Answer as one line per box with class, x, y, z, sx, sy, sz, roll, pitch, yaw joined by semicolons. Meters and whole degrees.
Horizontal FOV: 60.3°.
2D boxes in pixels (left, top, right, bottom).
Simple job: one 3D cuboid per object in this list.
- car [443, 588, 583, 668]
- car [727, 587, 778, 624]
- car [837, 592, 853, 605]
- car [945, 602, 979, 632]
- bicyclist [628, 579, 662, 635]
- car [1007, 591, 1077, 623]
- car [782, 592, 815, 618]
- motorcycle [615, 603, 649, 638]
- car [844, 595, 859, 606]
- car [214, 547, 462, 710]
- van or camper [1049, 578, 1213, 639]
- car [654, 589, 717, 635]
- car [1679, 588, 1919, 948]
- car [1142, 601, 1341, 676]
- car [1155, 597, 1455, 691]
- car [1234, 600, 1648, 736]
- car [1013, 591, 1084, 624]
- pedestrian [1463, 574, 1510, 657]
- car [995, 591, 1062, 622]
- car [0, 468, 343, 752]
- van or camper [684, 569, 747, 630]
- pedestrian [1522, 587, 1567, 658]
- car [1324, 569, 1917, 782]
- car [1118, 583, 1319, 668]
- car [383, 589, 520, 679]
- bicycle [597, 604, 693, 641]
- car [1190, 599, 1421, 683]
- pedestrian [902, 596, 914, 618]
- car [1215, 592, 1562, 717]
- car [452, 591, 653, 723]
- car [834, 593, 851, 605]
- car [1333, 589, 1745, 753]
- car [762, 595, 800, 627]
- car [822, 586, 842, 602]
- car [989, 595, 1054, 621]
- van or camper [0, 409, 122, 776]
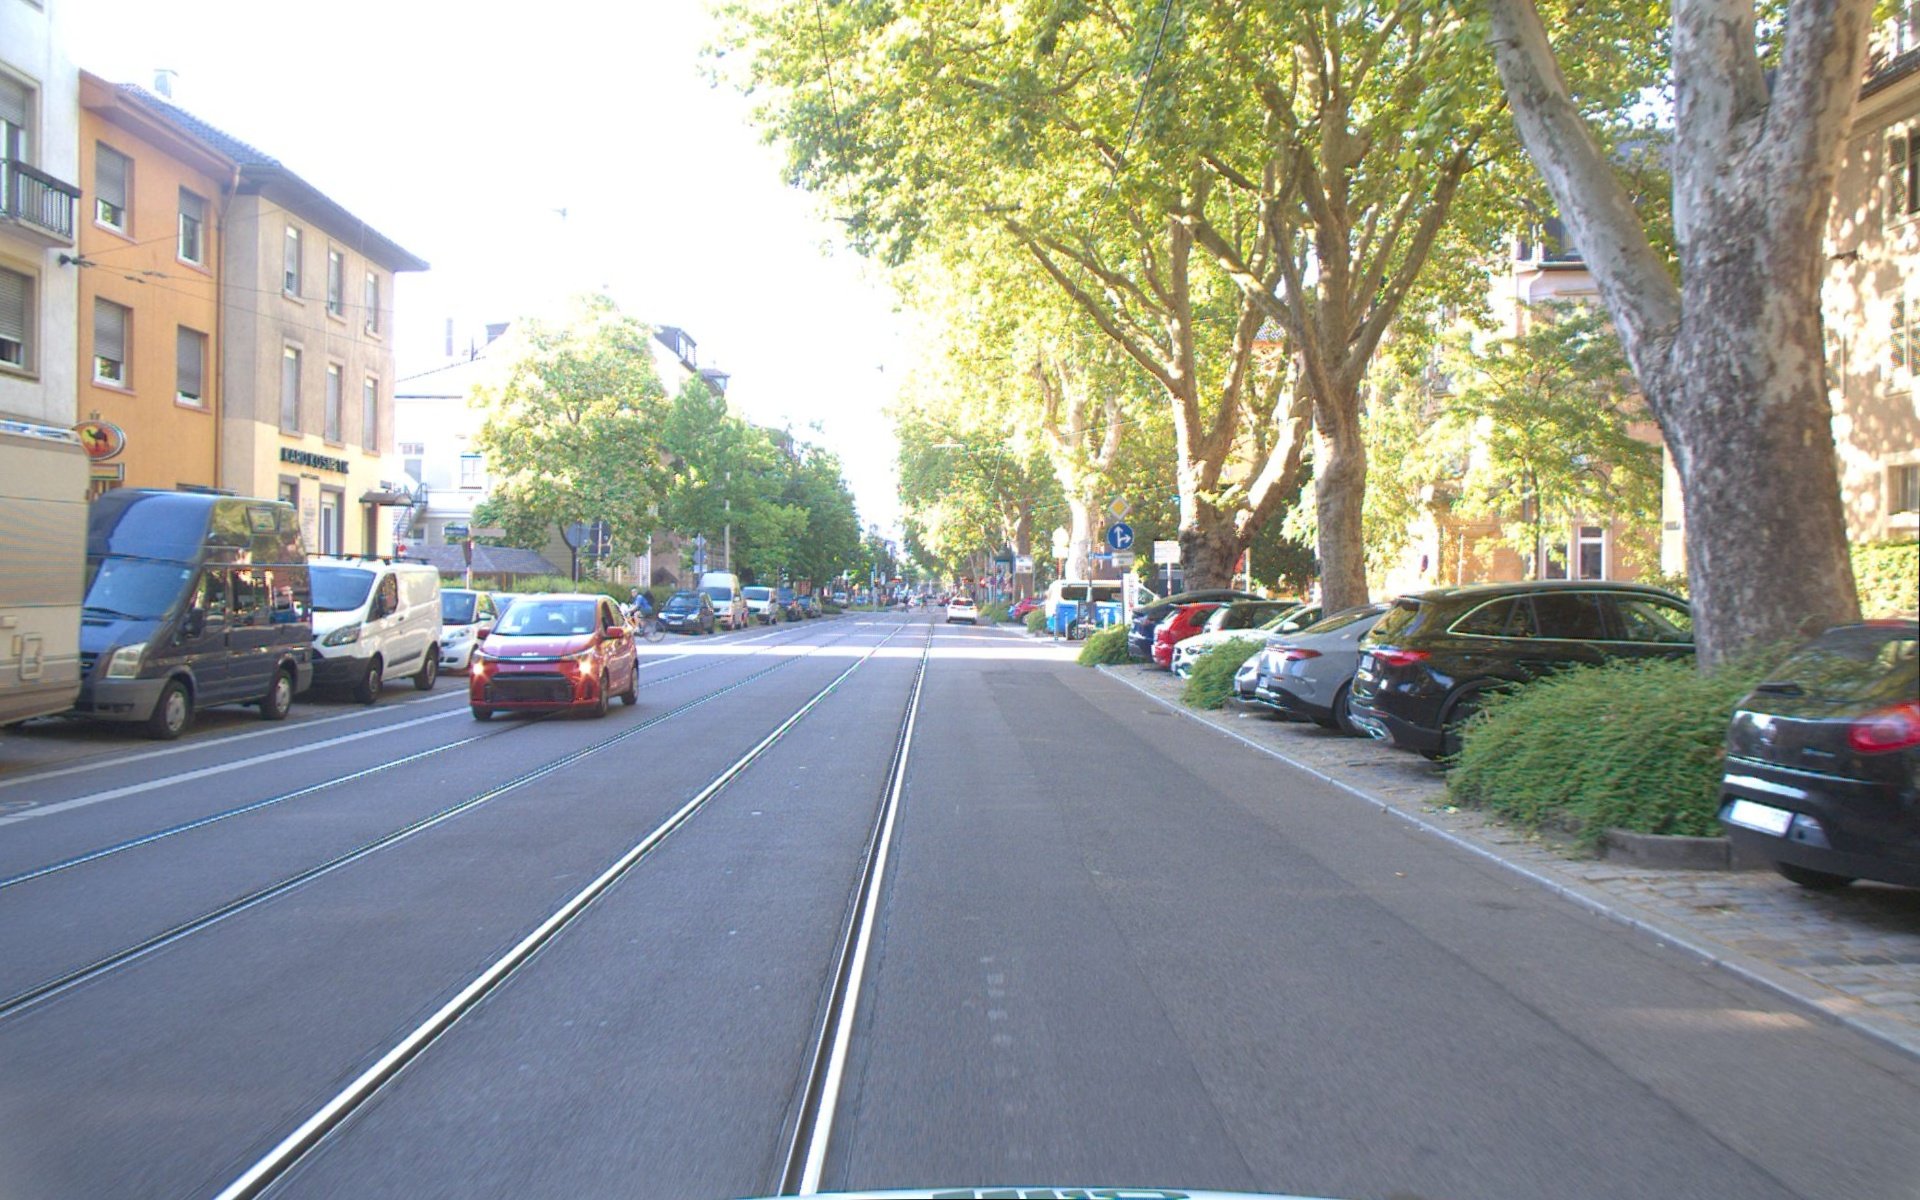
car;-9.602;0.549;35.936;1.799;1.494;5.067;3;0;-3
car;-10.889;0.260;86.986;2.129;1.893;4.658;0;0;-1
car;-14.054;-0.139;202.131;1.881;1.443;3.586;-2;-1;-6
car;0.089;0.940;94.331;1.879;1.612;3.790;-1;0;-1
bicyclist;-9.782;0.221;51.422;1.027;1.735;1.055;0;0;-10
car;4.705;0.420;95.417;3.905;1.816;2.000;0;0;-1
car;-11.424;0.346;117.316;1.953;1.775;4.658;0;0;-1
motorcycle;-11.675;0.727;58.950;0.748;1.126;2.330;1;2;-1
car;-14.411;0.126;219.973;1.880;1.443;3.588;0;0;-3
car;-9.339;0.348;25.359;1.913;2.127;5.246;3;1;-3
van or camper;6.006;0.275;58.514;5.447;2.048;2.242;0;3;-6
car;-10.425;0.423;63.083;1.751;1.614;4.342;3;0;-2
car;5.704;0.722;7.949;3.760;1.536;1.710;0;0;-1
car;5.461;0.726;32.369;3.575;1.402;1.889;0;0;0
car;5.653;0.708;27.504;4.591;1.472;1.892;0;0;-1
car;5.441;0.746;19.095;4.209;1.464;1.947;0;0;-2
car;4.952;0.424;93.137;3.905;1.816;2.000;0;0;-1
pedestrian;11.386;0.339;35.785;0.745;1.769;0.821;0;0;-1
car;4.077;0.371;98.670;3.905;1.816;2.000;0;0;-1
car;-9.275;0.065;19.343;2.044;2.779;5.308;3;0;-1
van or camper;-10.650;-0.039;72.313;2.037;2.577;5.317;0;0;-1
pedestrian;12.258;0.468;34.686;0.648;1.480;0.821;0;0;-1
car;5.617;0.622;14.572;4.402;1.630;2.028;-2;0;3
car;5.347;0.516;34.591;3.845;1.699;1.960;0;0;-3
car;-9.548;0.612;31.251;1.539;1.553;3.041;2;0;1
bicycle;-9.790;0.708;51.438;2.894;1.124;1.049;0;0;-10
car;6.204;0.720;29.966;3.803;1.460;1.753;0;0;-1
pedestrian;-4.886;0.673;154.873;1.026;2.049;1.082;0;0;2
car;5.495;0.679;21.573;4.057;1.535;1.796;0;0;-1
car;-5.060;0.644;21.042;1.629;1.505;3.950;-1;0;-1
car;-14.053;-0.142;197.885;1.880;1.443;3.588;0;0;-3
car;5.793;0.680;16.880;3.602;1.574;1.777;0;0;1
car;-10.942;0.639;101.399;1.953;1.893;4.178;0;0;-1
car;-12.815;-0.585;165.551;1.880;1.444;3.718;0;-1;-3
car;3.739;0.485;100.970;3.905;1.547;2.000;0;0;-1
van or camper;-9.235;-0.112;12.570;2.290;3.093;6.397;3;0;0
